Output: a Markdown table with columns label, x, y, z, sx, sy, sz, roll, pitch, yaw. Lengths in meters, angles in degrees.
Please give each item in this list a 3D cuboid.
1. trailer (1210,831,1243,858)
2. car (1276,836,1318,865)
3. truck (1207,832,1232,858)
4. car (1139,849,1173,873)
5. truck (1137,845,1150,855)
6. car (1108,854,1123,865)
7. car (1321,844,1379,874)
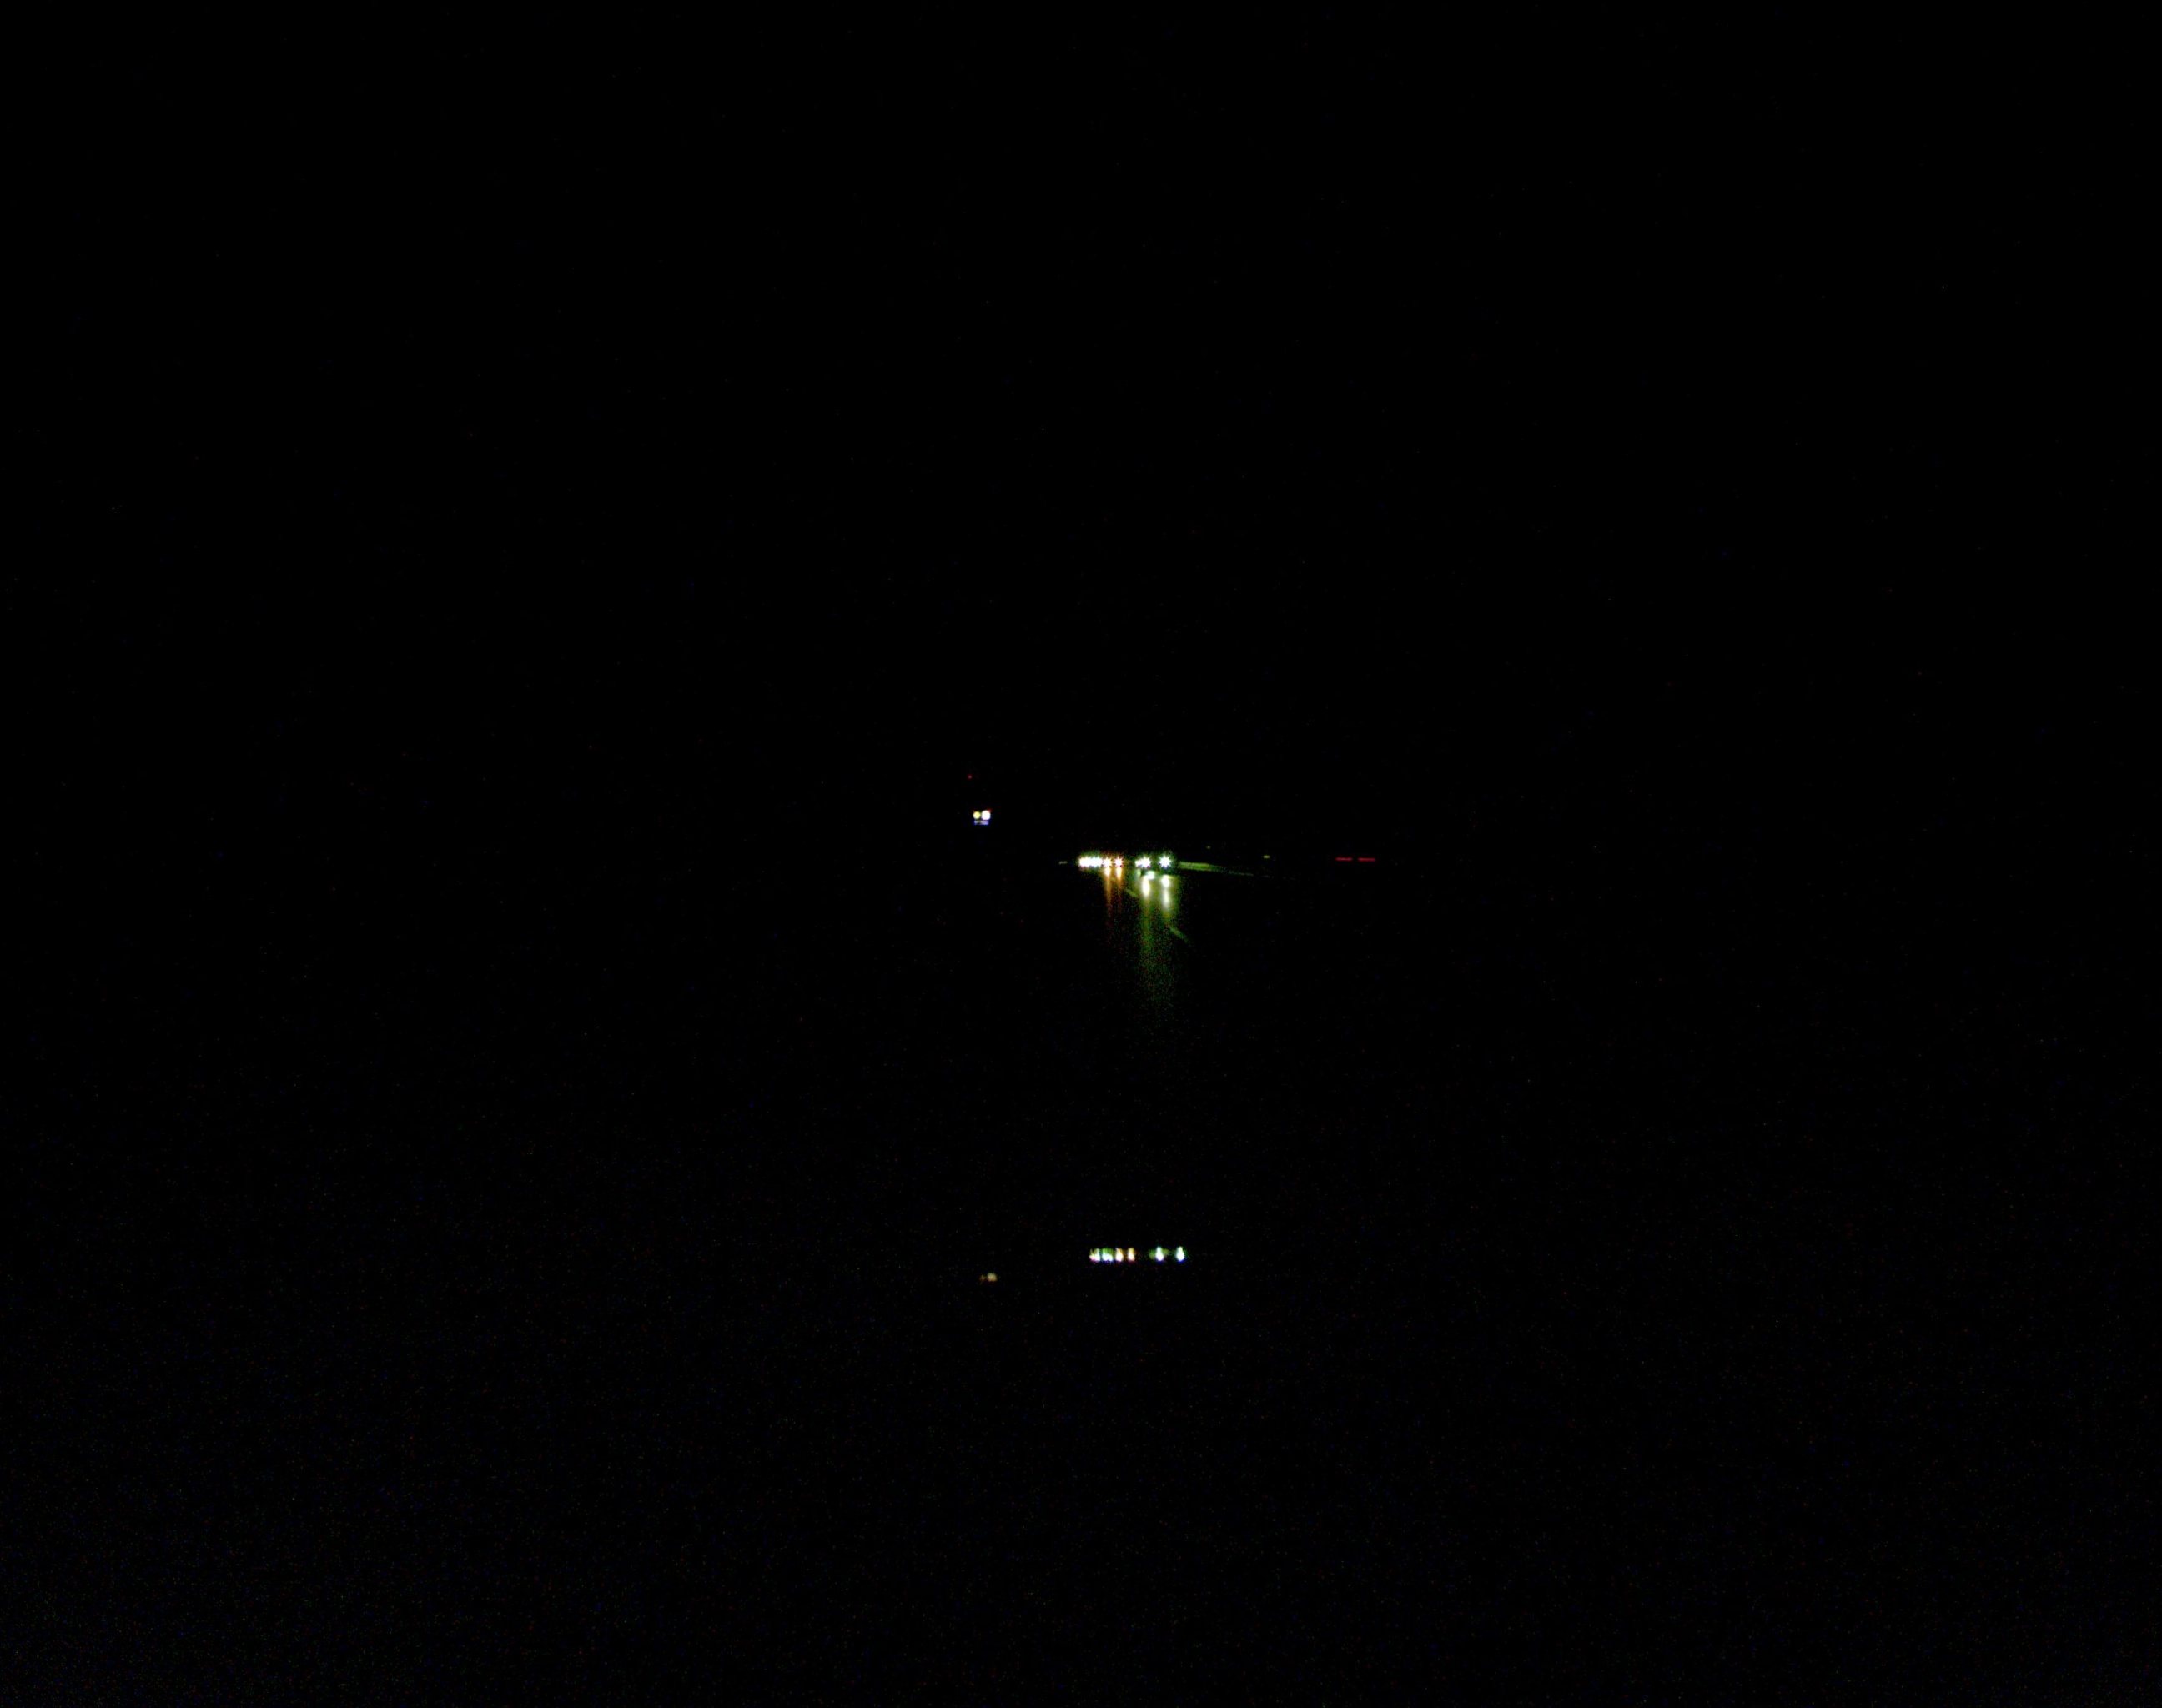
| label | x | y | z | sx | sy | sz | roll | pitch | yaw |
| --- | --- | --- | --- | --- | --- | --- | --- | --- | --- |
| trailer | 23.663 | -1.513 | 124.258 | 3.063 | 4.209 | 13.040 | -2 | 0 | 1 |
| car | 23.716 | -0.383 | 83.852 | 2.499 | 3.011 | 7.139 | -2 | 0 | -1 |
| truck | 23.816 | -1.537 | 131.158 | 3.063 | 4.209 | 6.748 | -2 | 0 | 1 |
| car | 5.715 | 0.516 | 58.572 | 1.998 | 1.711 | 5.942 | -2 | 0 | 1 |
| truck | 21.825 | -1.448 | 264.236 | 3.446 | 3.413 | 9.758 | -2 | 0 | -1 |
| car | 4.683 | 0.760 | 104.132 | 1.998 | 1.423 | 4.329 | -2 | 1 | 1 |
| car | 19.927 | 0.338 | 56.577 | 2.339 | 2.002 | 5.742 | -2 | 0 | 1 |
